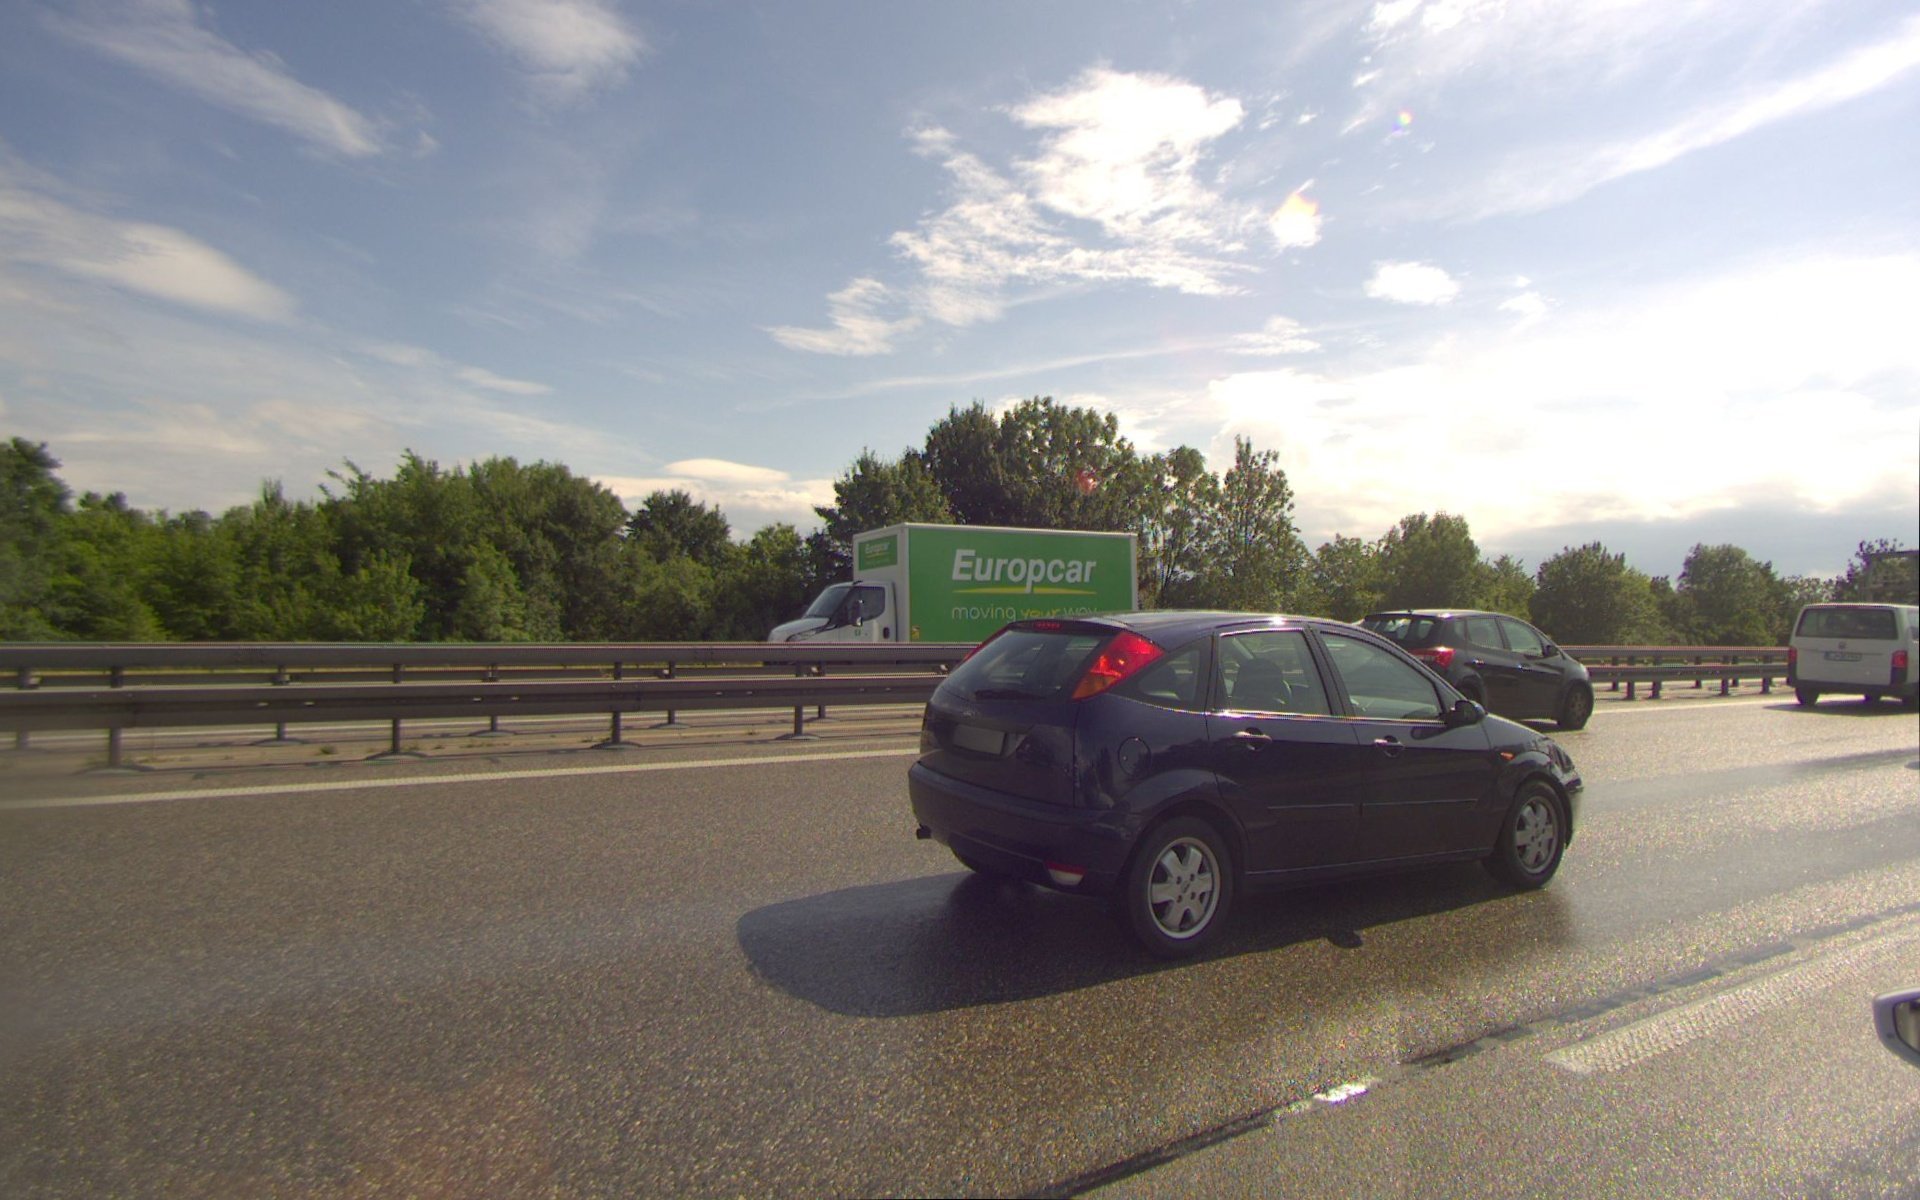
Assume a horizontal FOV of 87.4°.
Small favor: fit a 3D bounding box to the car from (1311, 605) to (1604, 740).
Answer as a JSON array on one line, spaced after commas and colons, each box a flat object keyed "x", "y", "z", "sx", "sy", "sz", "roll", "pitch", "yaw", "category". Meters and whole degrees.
[{"x": 6.869, "y": 0.919, "z": 13.812, "sx": 3.870, "sy": 1.599, "sz": 1.775, "roll": 1, "pitch": 0, "yaw": -30, "category": "car"}]

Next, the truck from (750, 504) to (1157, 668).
[{"x": 0.052, "y": -0.151, "z": 22.043, "sx": 8.621, "sy": 3.026, "sz": 2.902, "roll": 2, "pitch": 0, "yaw": -31, "category": "truck"}]

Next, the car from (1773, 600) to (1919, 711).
[{"x": 18.358, "y": 1.041, "z": 19.973, "sx": 4.959, "sy": 1.959, "sz": 1.838, "roll": 1, "pitch": 0, "yaw": -31, "category": "car"}]

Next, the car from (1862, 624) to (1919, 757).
[{"x": 12.631, "y": 1.067, "z": 11.779, "sx": 3.781, "sy": 1.477, "sz": 1.978, "roll": 1, "pitch": 0, "yaw": -30, "category": "car"}]

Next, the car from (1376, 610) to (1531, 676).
[{"x": 12.476, "y": 1.061, "z": 25.332, "sx": 3.956, "sy": 1.506, "sz": 1.688, "roll": 2, "pitch": 0, "yaw": -32, "category": "car"}]

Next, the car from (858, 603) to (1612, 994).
[{"x": 1.605, "y": 0.798, "z": 5.554, "sx": 3.952, "sy": 1.462, "sz": 1.750, "roll": 1, "pitch": 0, "yaw": -30, "category": "car"}]
